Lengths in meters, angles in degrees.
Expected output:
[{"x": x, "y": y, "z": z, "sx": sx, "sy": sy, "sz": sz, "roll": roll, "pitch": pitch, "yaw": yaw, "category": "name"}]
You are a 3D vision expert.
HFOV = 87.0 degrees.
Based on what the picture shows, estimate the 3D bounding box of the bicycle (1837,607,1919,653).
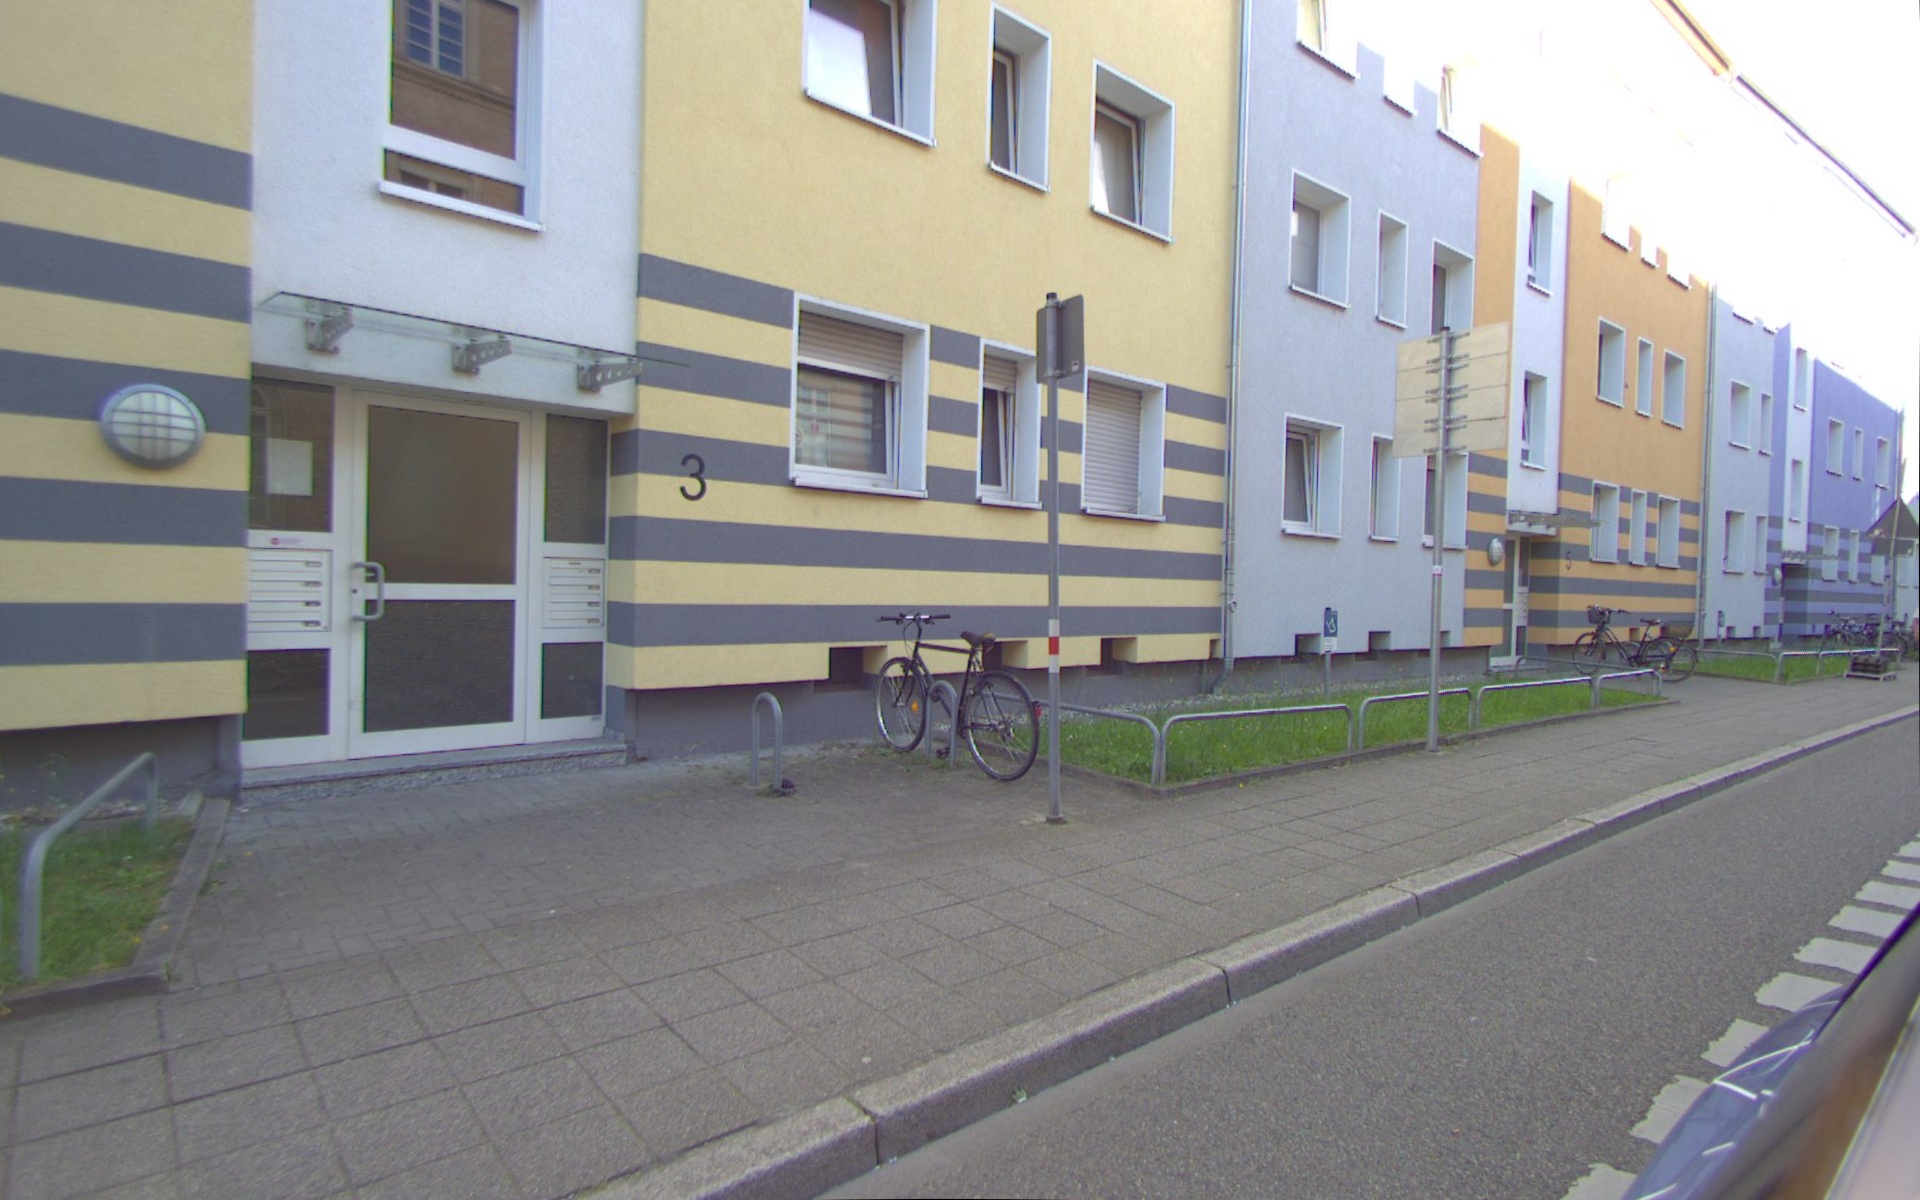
[{"x": 23.370, "y": 0.739, "z": 25.500, "sx": 0.572, "sy": 1.007, "sz": 1.779, "roll": 1, "pitch": 3, "yaw": -33, "category": "bicycle"}]

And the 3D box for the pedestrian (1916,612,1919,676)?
[{"x": 17.223, "y": 0.494, "z": 17.632, "sx": 0.819, "sy": 1.692, "sz": 0.644, "roll": 1, "pitch": 2, "yaw": -39, "category": "pedestrian"}]

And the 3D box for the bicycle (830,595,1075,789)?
[{"x": -0.105, "y": 0.556, "z": 6.951, "sx": 1.773, "sy": 1.061, "sz": 0.574, "roll": 5, "pitch": 4, "yaw": 45, "category": "bicycle"}]

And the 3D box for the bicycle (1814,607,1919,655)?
[{"x": 22.207, "y": 0.736, "z": 24.831, "sx": 0.572, "sy": 1.007, "sz": 1.779, "roll": 1, "pitch": 3, "yaw": -33, "category": "bicycle"}]

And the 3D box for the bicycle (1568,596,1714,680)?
[{"x": 10.708, "y": 0.570, "z": 15.973, "sx": 0.574, "sy": 1.138, "sz": 1.775, "roll": 0, "pitch": 4, "yaw": -42, "category": "bicycle"}]

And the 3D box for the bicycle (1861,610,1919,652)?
[{"x": 24.072, "y": 0.795, "z": 25.608, "sx": 0.572, "sy": 0.950, "sz": 1.779, "roll": 1, "pitch": 3, "yaw": -33, "category": "bicycle"}]
